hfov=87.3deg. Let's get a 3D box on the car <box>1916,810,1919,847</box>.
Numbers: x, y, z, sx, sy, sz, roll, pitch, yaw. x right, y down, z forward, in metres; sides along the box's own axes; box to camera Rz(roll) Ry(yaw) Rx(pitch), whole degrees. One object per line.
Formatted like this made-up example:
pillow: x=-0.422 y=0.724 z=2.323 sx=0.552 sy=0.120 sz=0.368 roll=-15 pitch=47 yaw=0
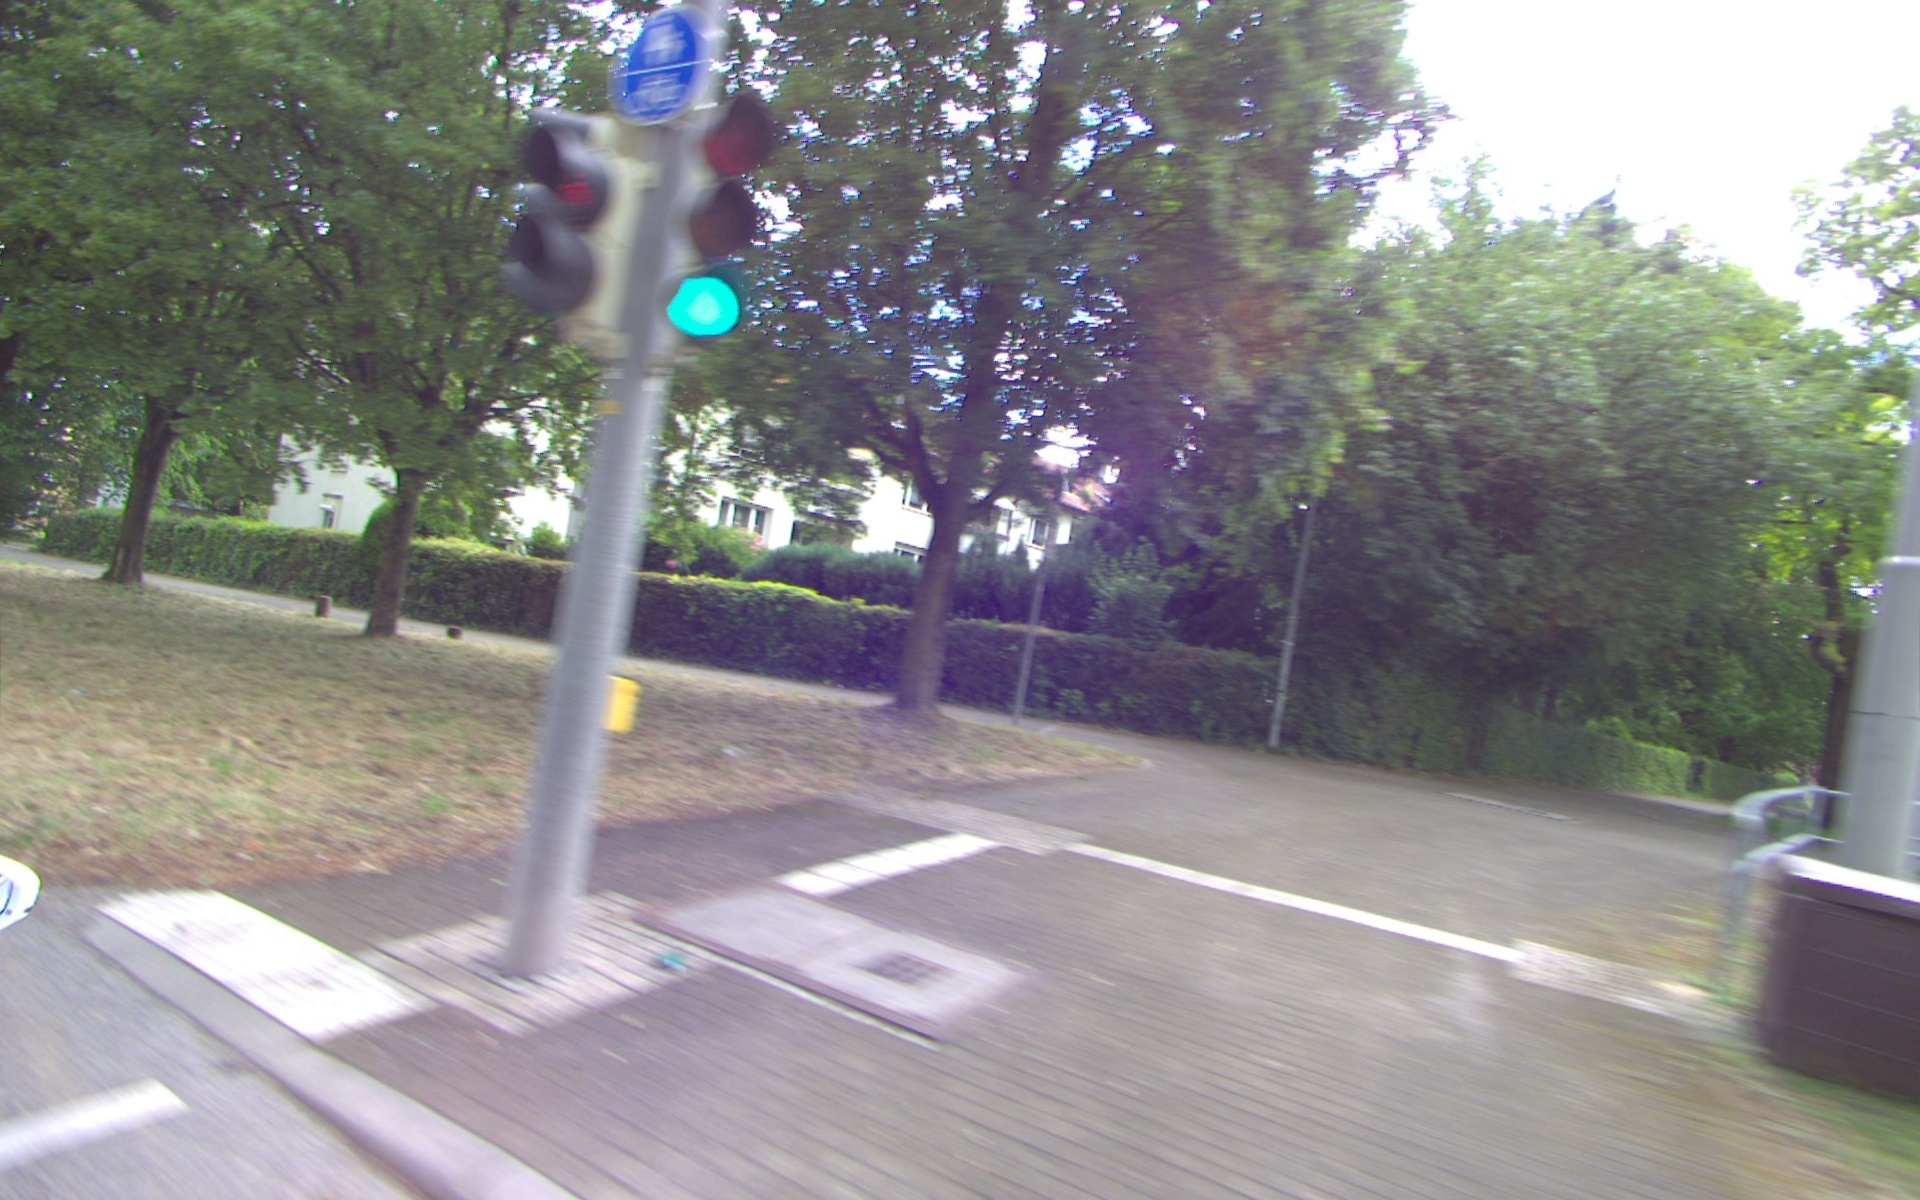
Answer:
car: x=32.398 y=7.008 z=30.752 sx=1.893 sy=2.037 sz=4.398 roll=8 pitch=-2 yaw=-43
